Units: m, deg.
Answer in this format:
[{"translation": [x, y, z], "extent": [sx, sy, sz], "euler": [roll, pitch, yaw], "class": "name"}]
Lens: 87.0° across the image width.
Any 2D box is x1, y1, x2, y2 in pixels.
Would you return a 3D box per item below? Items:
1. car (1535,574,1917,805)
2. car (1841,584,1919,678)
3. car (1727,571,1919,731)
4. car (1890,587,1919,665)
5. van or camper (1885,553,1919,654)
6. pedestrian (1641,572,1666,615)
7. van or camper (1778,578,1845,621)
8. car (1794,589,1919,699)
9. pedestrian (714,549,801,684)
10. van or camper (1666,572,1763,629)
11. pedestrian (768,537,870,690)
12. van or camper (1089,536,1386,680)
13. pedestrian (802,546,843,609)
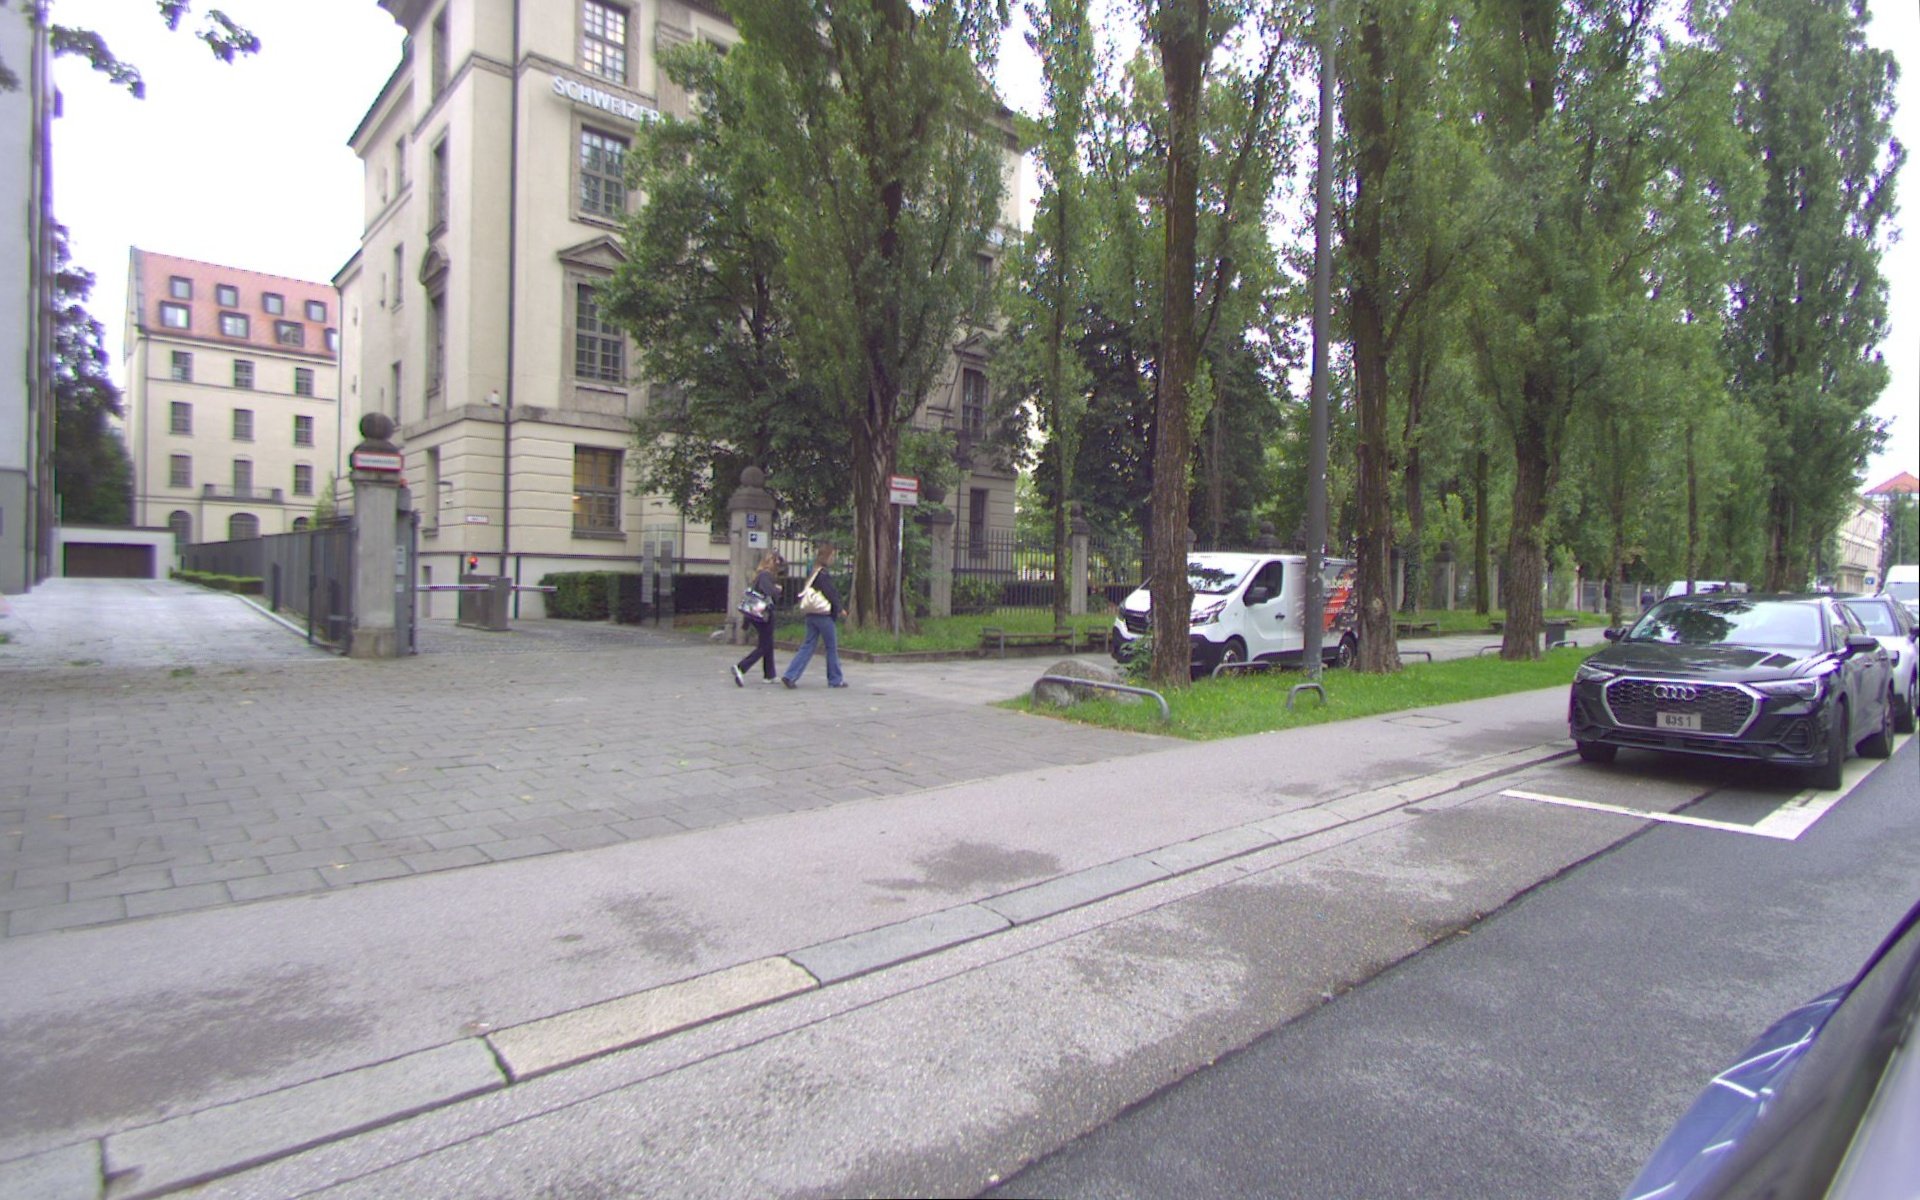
[{"translation": [7.045, 0.609, 9.124], "extent": [4.386, 1.560, 1.883], "euler": [0, 1, -41], "class": "car"}, {"translation": [18.568, 0.562, 19.532], "extent": [4.558, 1.638, 1.787], "euler": [0, 1, -42], "class": "car"}, {"translation": [11.462, 0.544, 12.985], "extent": [4.501, 1.696, 1.745], "euler": [0, 1, -42], "class": "car"}, {"translation": [22.456, 0.577, 22.914], "extent": [4.344, 1.669, 1.786], "euler": [0, 1, -44], "class": "car"}, {"translation": [27.081, 0.106, 27.549], "extent": [6.306, 2.572, 2.142], "euler": [0, 1, -42], "class": "van or camper"}, {"translation": [33.506, -0.328, 48.930], "extent": [0.898, 2.038, 0.946], "euler": [2, 1, 33], "class": "pedestrian"}, {"translation": [42.153, -0.041, 50.072], "extent": [4.902, 2.039, 2.005], "euler": [0, 0, -43], "class": "van or camper"}, {"translation": [14.972, 0.635, 16.333], "extent": [4.221, 1.539, 1.705], "euler": [0, 1, -42], "class": "car"}, {"translation": [-2.490, 0.184, 12.471], "extent": [0.852, 1.598, 0.568], "euler": [0, 2, -42], "class": "pedestrian"}, {"translation": [27.875, 0.003, 37.309], "extent": [4.952, 1.958, 1.978], "euler": [0, 0, -42], "class": "van or camper"}, {"translation": [-1.700, 0.136, 12.182], "extent": [0.852, 1.738, 0.855], "euler": [0, 2, -42], "class": "pedestrian"}, {"translation": [4.610, 0.102, 16.301], "extent": [5.275, 1.958, 2.080], "euler": [0, 0, -41], "class": "van or camper"}, {"translation": [-3.980, -0.639, 29.327], "extent": [0.879, 1.790, 0.797], "euler": [1, 1, -38], "class": "pedestrian"}]
